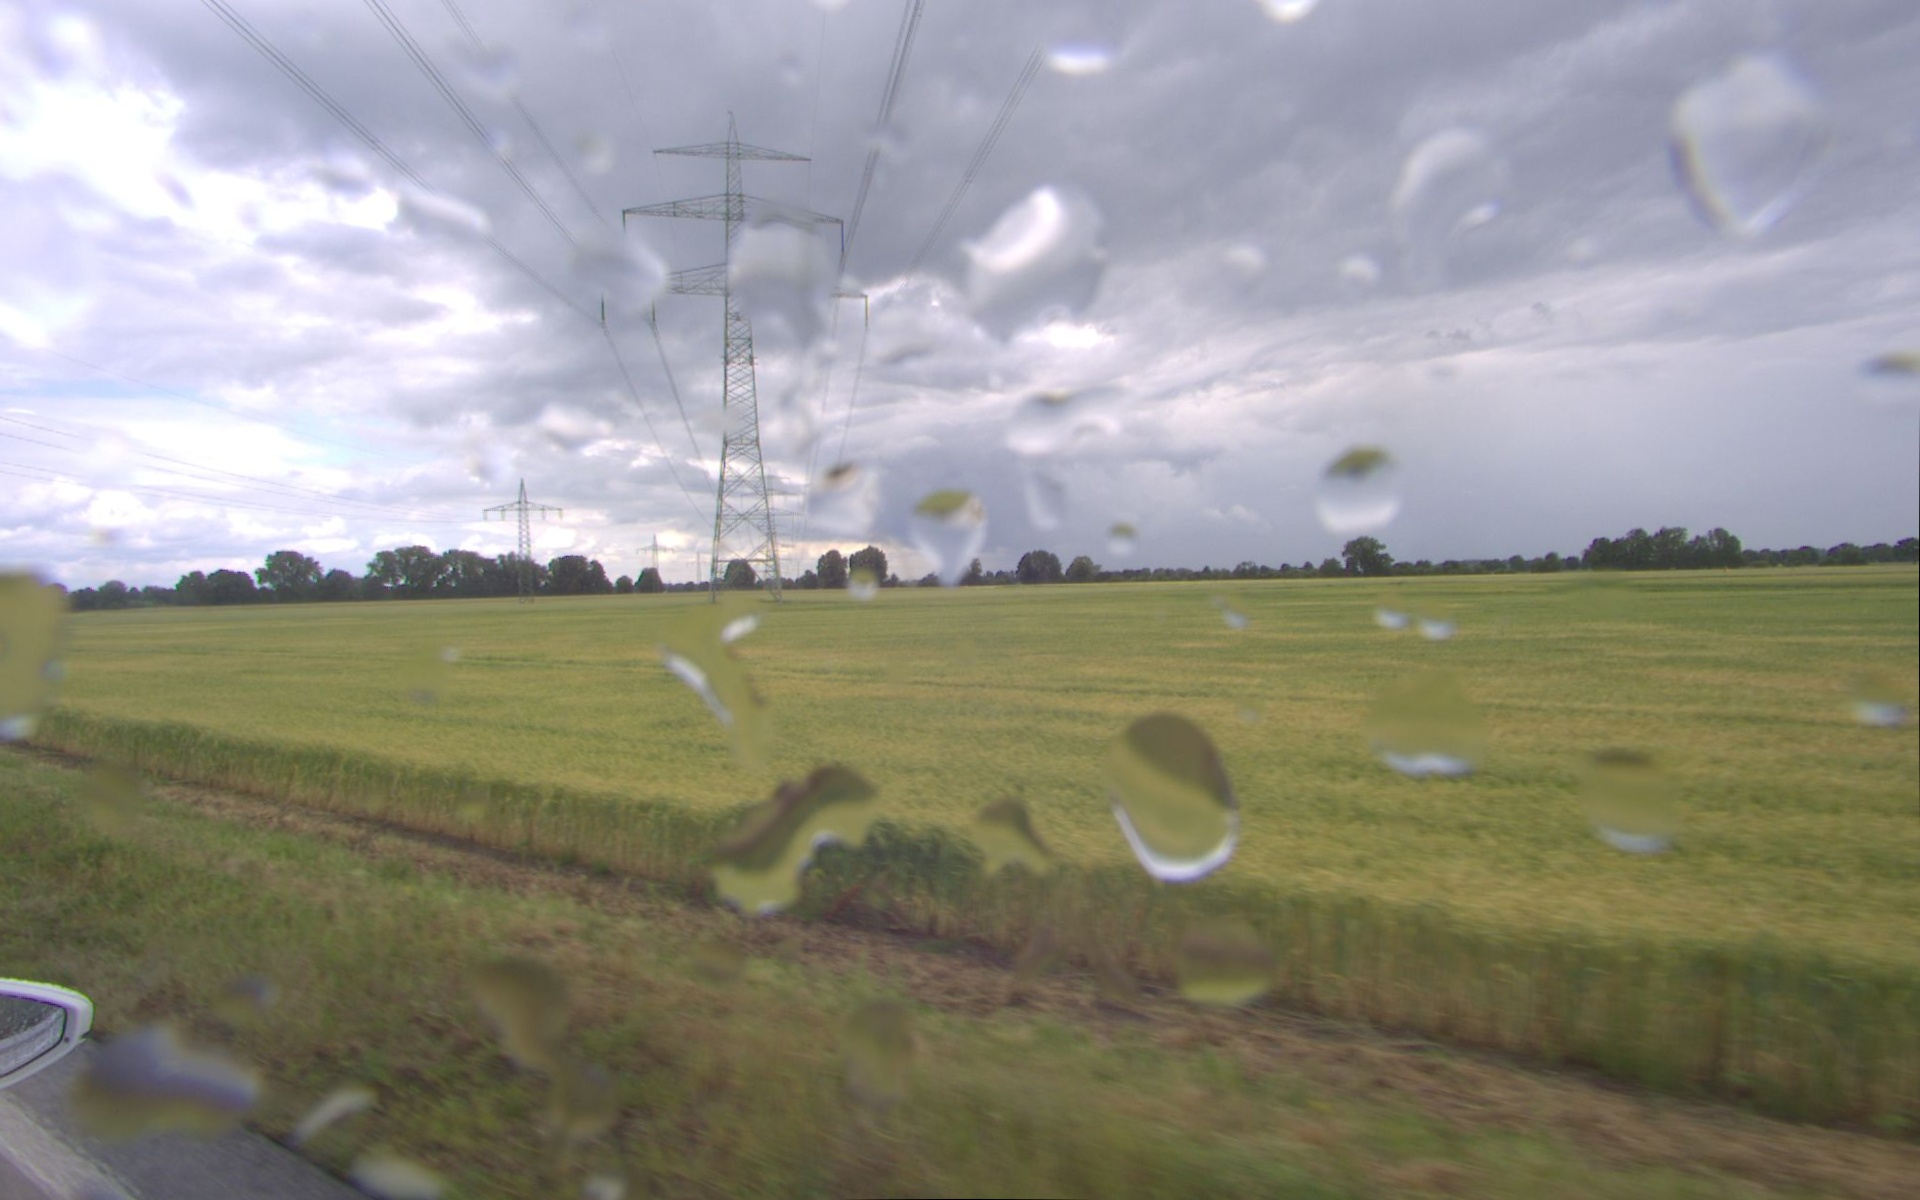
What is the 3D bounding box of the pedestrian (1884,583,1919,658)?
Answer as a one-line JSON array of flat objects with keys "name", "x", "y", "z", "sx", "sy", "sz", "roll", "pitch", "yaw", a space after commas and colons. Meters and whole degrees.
[{"name": "pedestrian", "x": 28.186, "y": 0.520, "z": 27.228, "sx": 3.930, "sy": 2.039, "sz": 1.997, "roll": -2, "pitch": -2, "yaw": 19}]
